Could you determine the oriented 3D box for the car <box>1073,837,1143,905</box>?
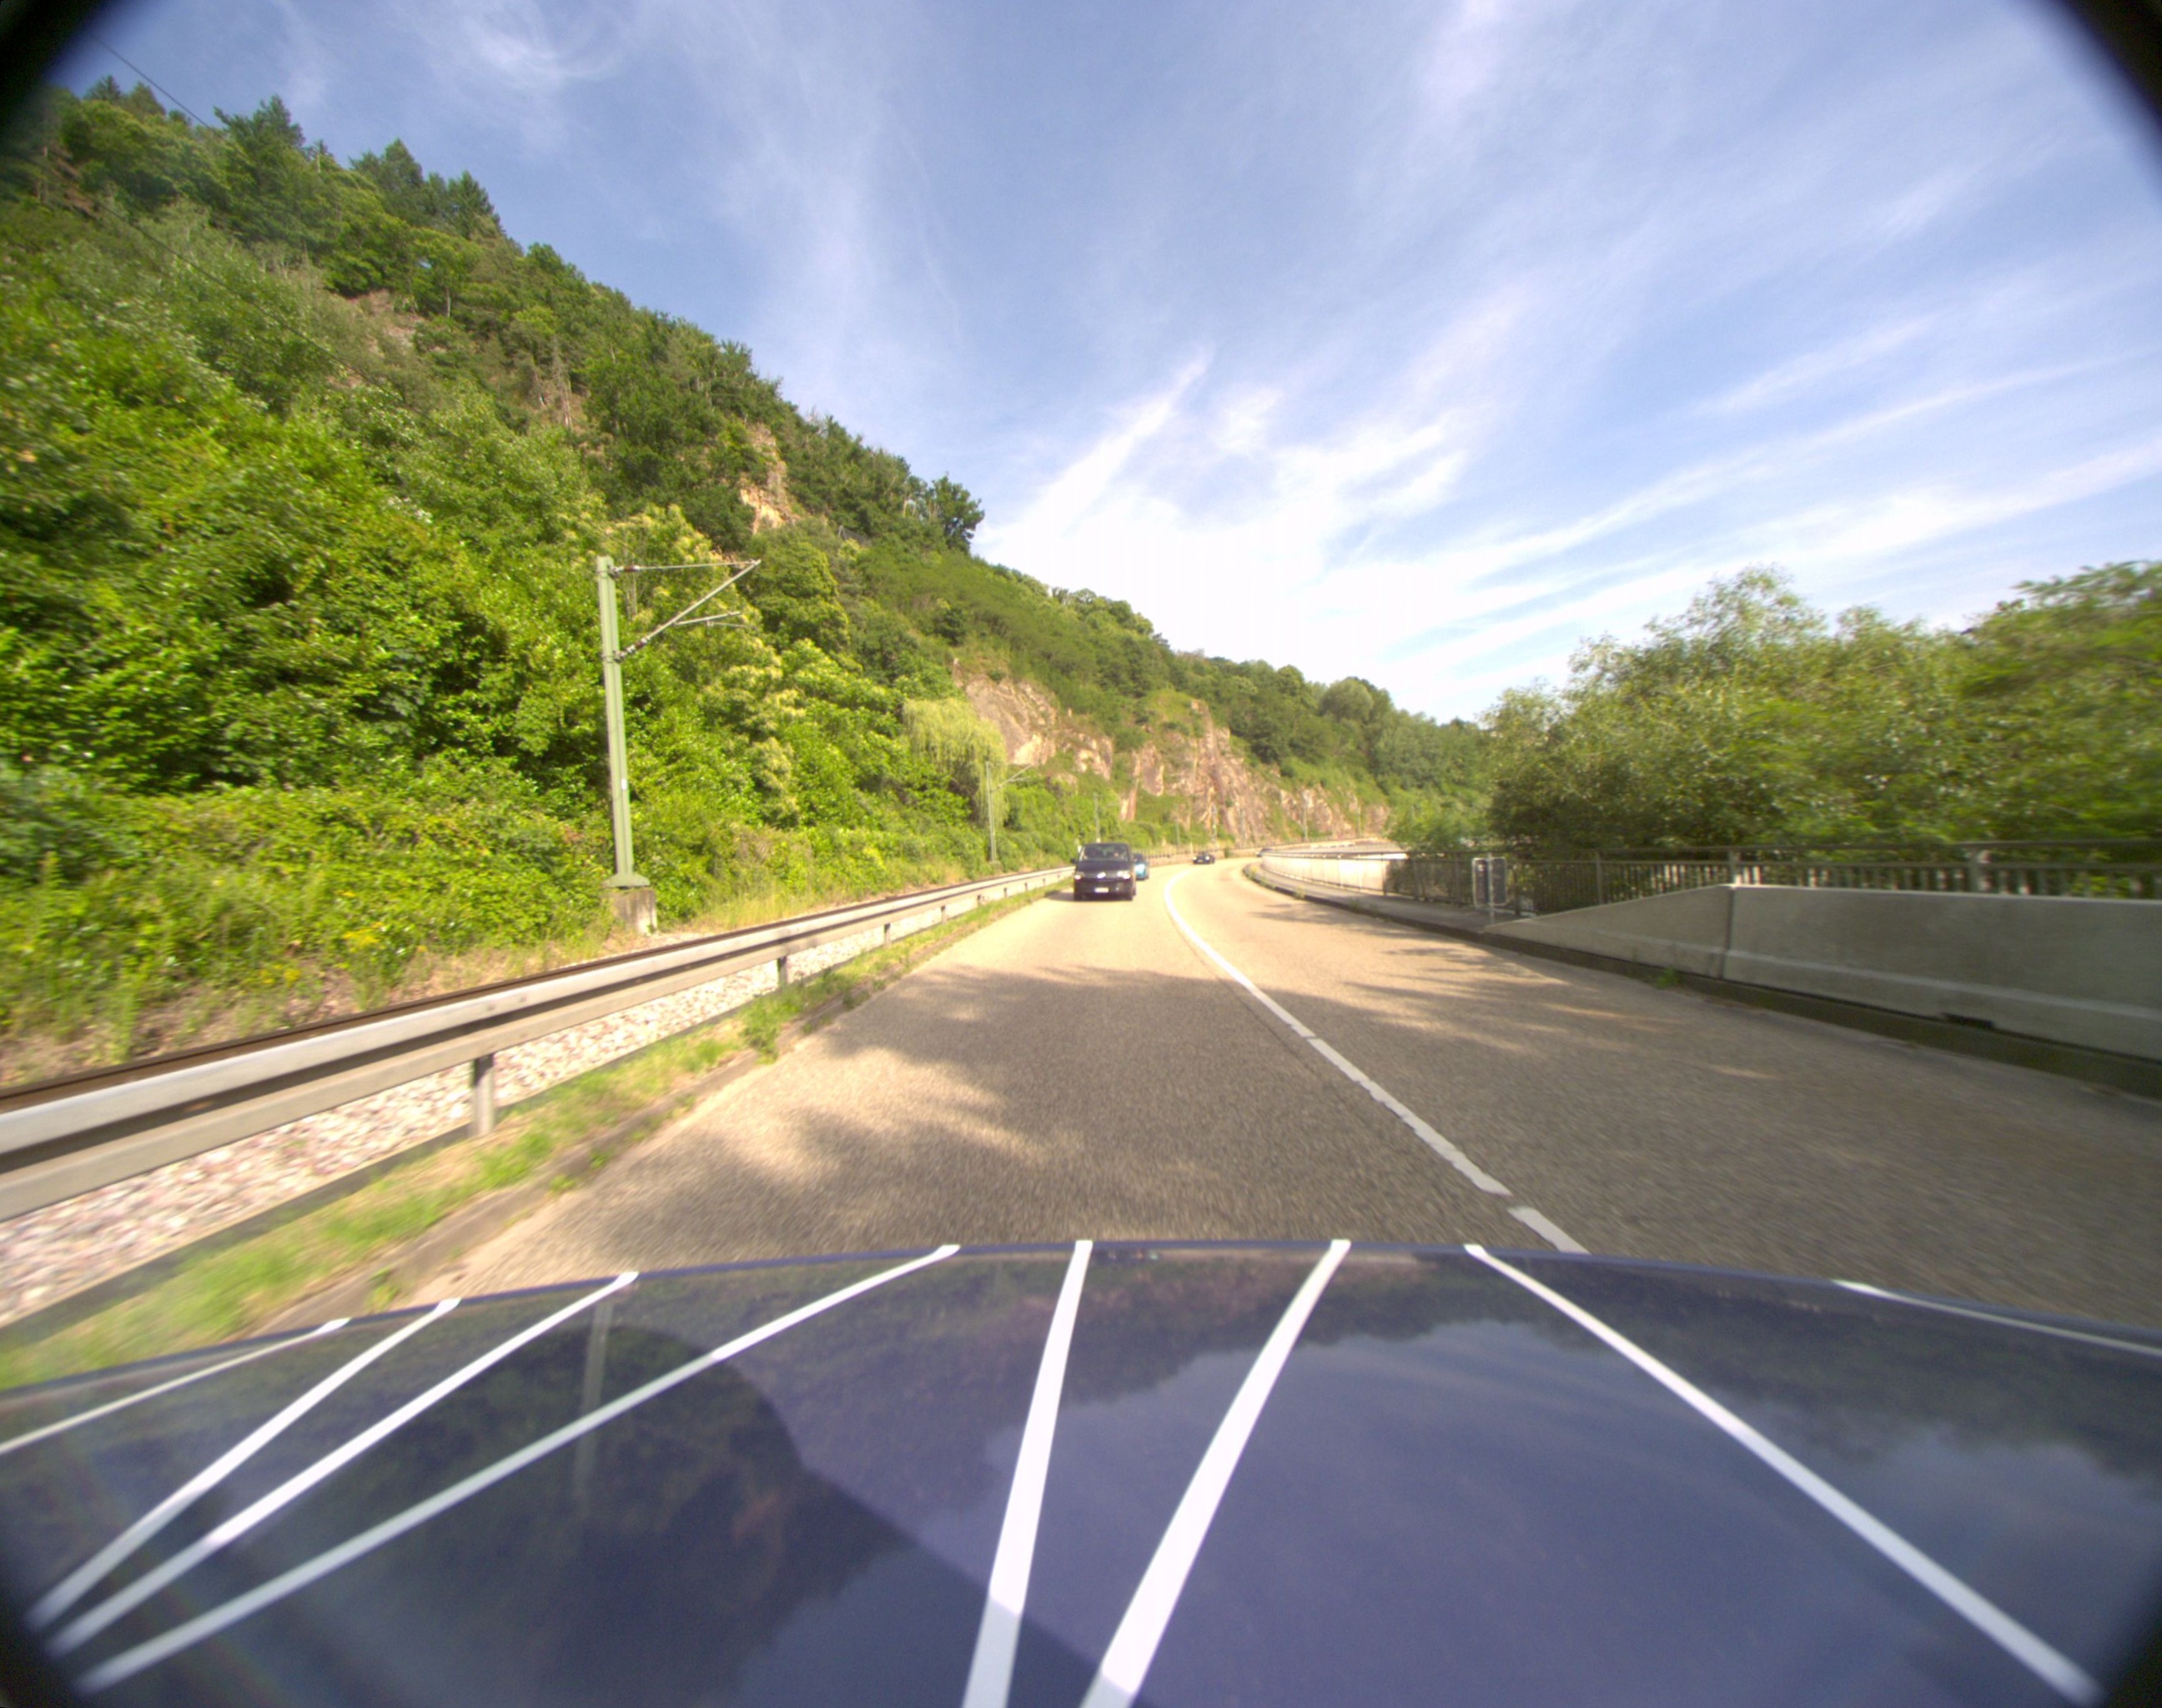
[{"bbox_3d":[0.982,0.576,25.472,1.998,2.001,4.003,-3,-1,6],"label":"car"}]

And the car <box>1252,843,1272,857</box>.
[{"bbox_3d":[27.531,-0.645,115.452,1.995,2.002,4.007,-2,0,28],"label":"car"}]

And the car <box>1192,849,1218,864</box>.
[{"bbox_3d":[13.646,0.250,83.660,1.995,1.486,4.226,-1,0,20],"label":"car"}]

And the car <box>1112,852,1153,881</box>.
[{"bbox_3d":[2.964,0.653,42.947,1.997,1.486,4.223,-1,0,8],"label":"car"}]
